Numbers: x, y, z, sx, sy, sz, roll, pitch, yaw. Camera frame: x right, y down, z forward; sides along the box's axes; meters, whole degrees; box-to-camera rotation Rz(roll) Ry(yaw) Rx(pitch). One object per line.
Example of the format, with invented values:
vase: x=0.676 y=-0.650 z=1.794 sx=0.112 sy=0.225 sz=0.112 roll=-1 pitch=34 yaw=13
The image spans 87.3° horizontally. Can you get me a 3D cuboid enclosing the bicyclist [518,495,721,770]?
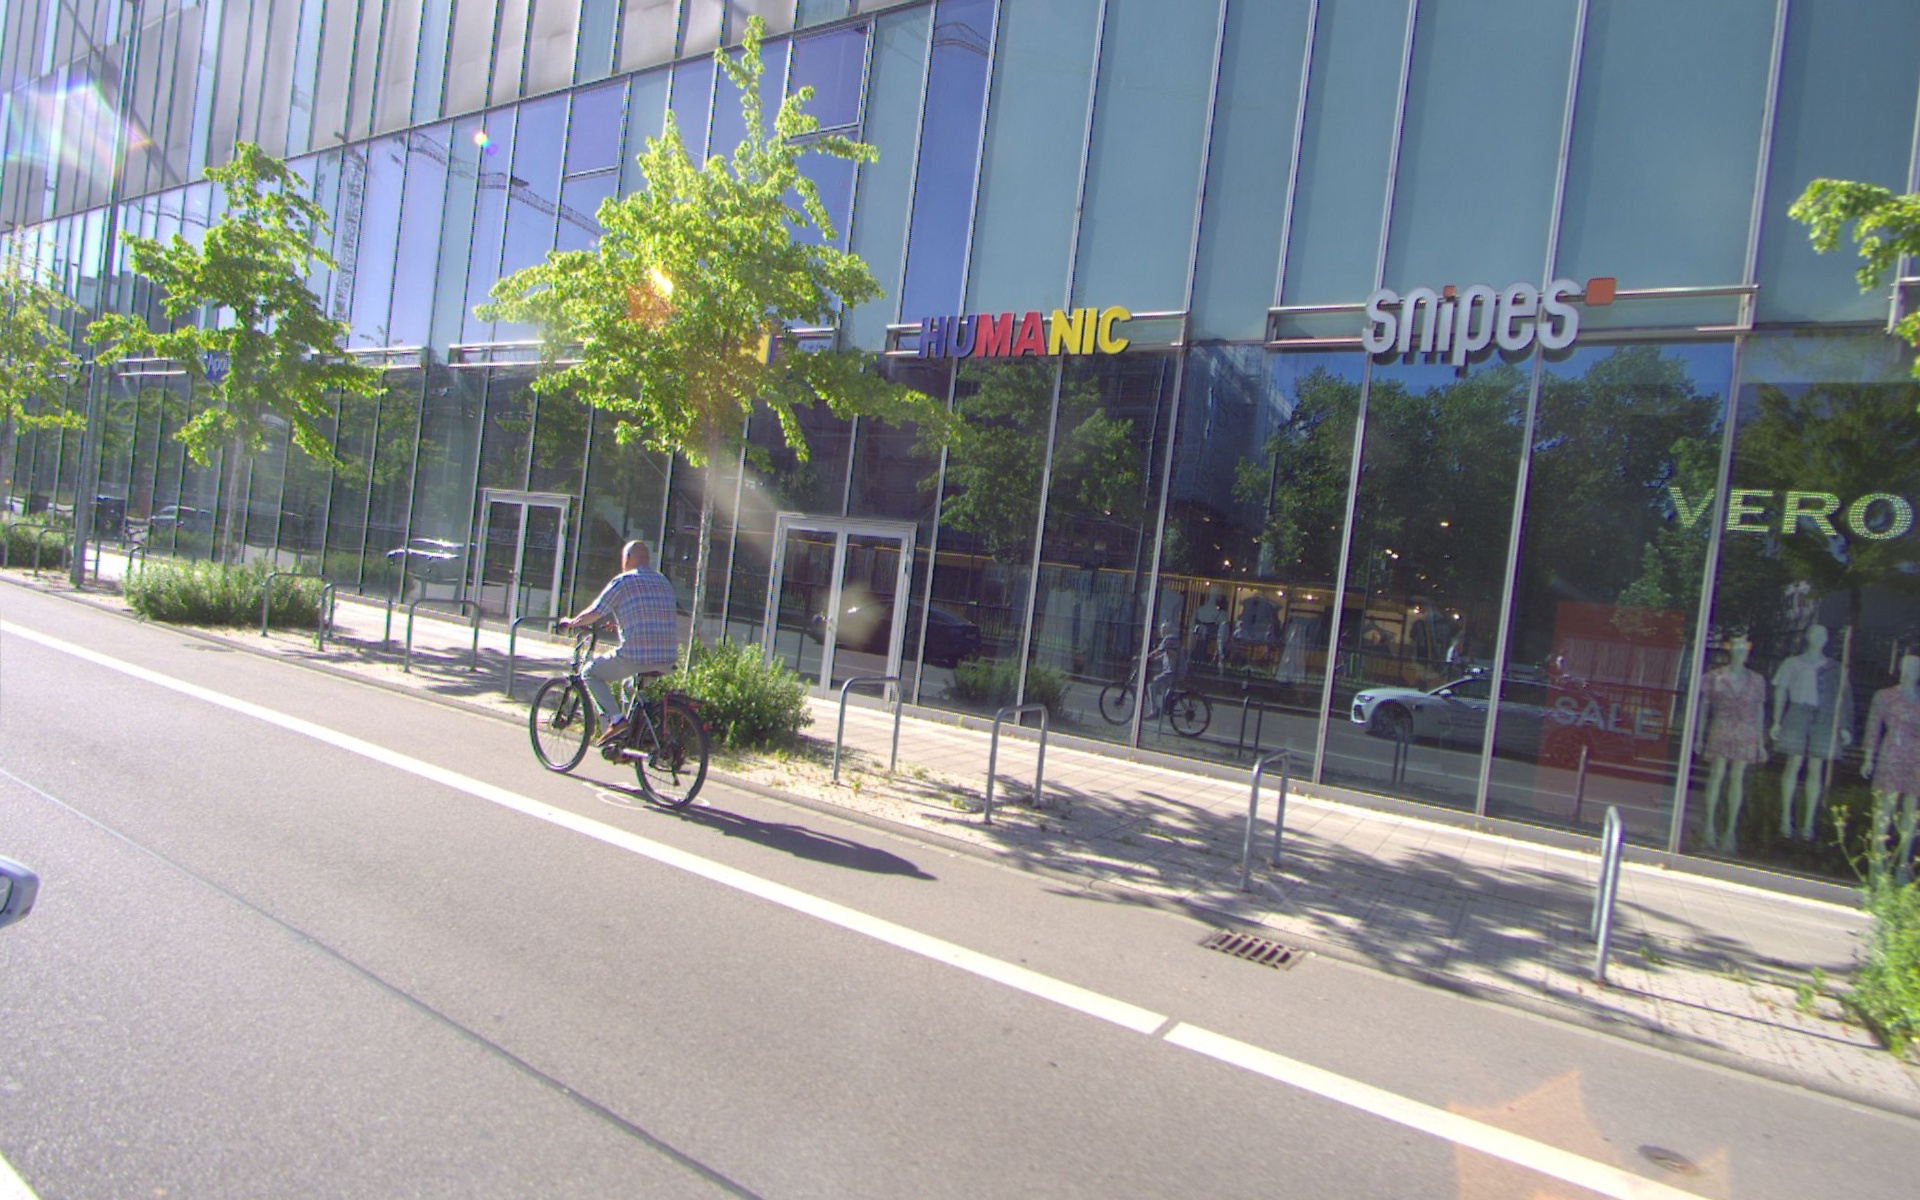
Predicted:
bicyclist: x=-2.403 y=0.213 z=7.127 sx=0.980 sy=1.758 sz=0.726 roll=7 pitch=1 yaw=28

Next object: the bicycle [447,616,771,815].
bicycle: x=-2.539 y=0.770 z=7.175 sx=2.293 sy=0.995 sz=0.730 roll=7 pitch=-1 yaw=28
